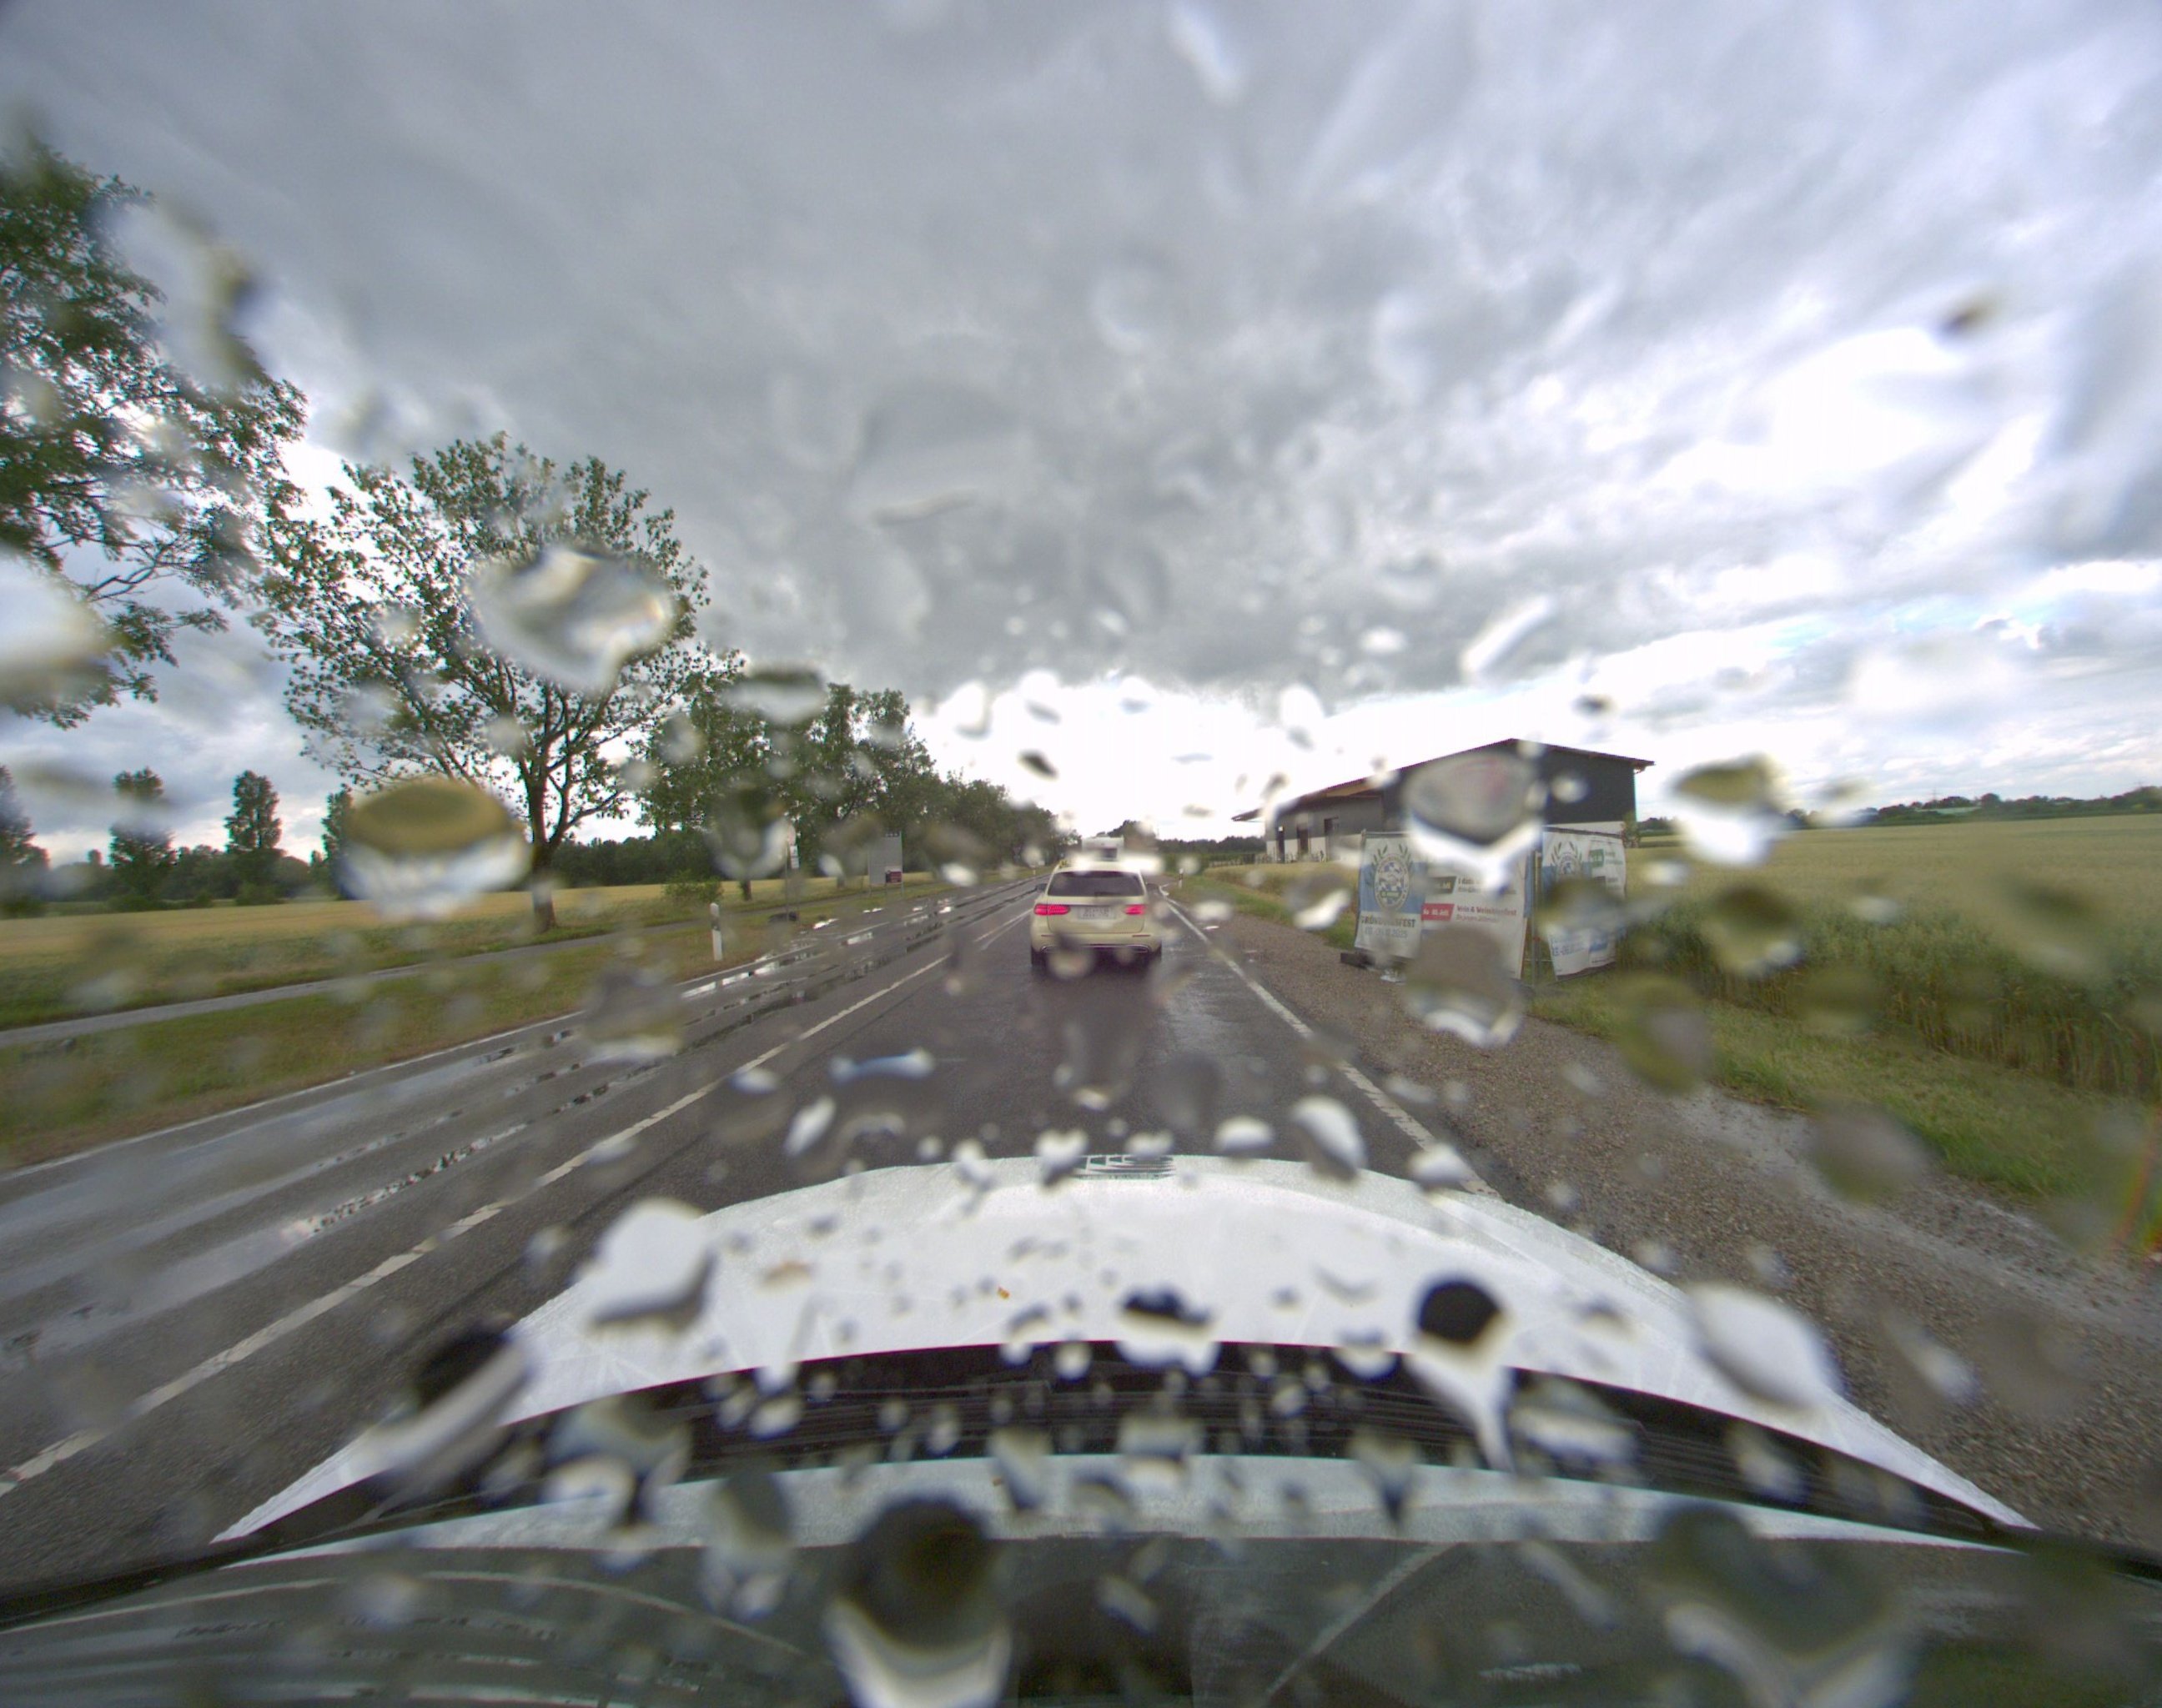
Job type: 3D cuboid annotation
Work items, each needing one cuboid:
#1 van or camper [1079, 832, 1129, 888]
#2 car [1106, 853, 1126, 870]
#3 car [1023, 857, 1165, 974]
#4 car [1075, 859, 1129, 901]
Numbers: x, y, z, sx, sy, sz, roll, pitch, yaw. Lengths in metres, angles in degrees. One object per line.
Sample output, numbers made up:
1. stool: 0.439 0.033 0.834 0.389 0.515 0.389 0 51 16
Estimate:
1. van or camper: 1.384 0.331 46.094 2.486 2.831 5.938 -3 -1 3
2. car: 3.330 0.722 77.730 1.887 1.590 3.929 -1 0 2
3. car: 0.260 0.801 12.467 1.790 1.464 4.033 -1 0 3
4. car: 0.793 0.924 30.593 1.887 1.429 3.929 -1 0 2
